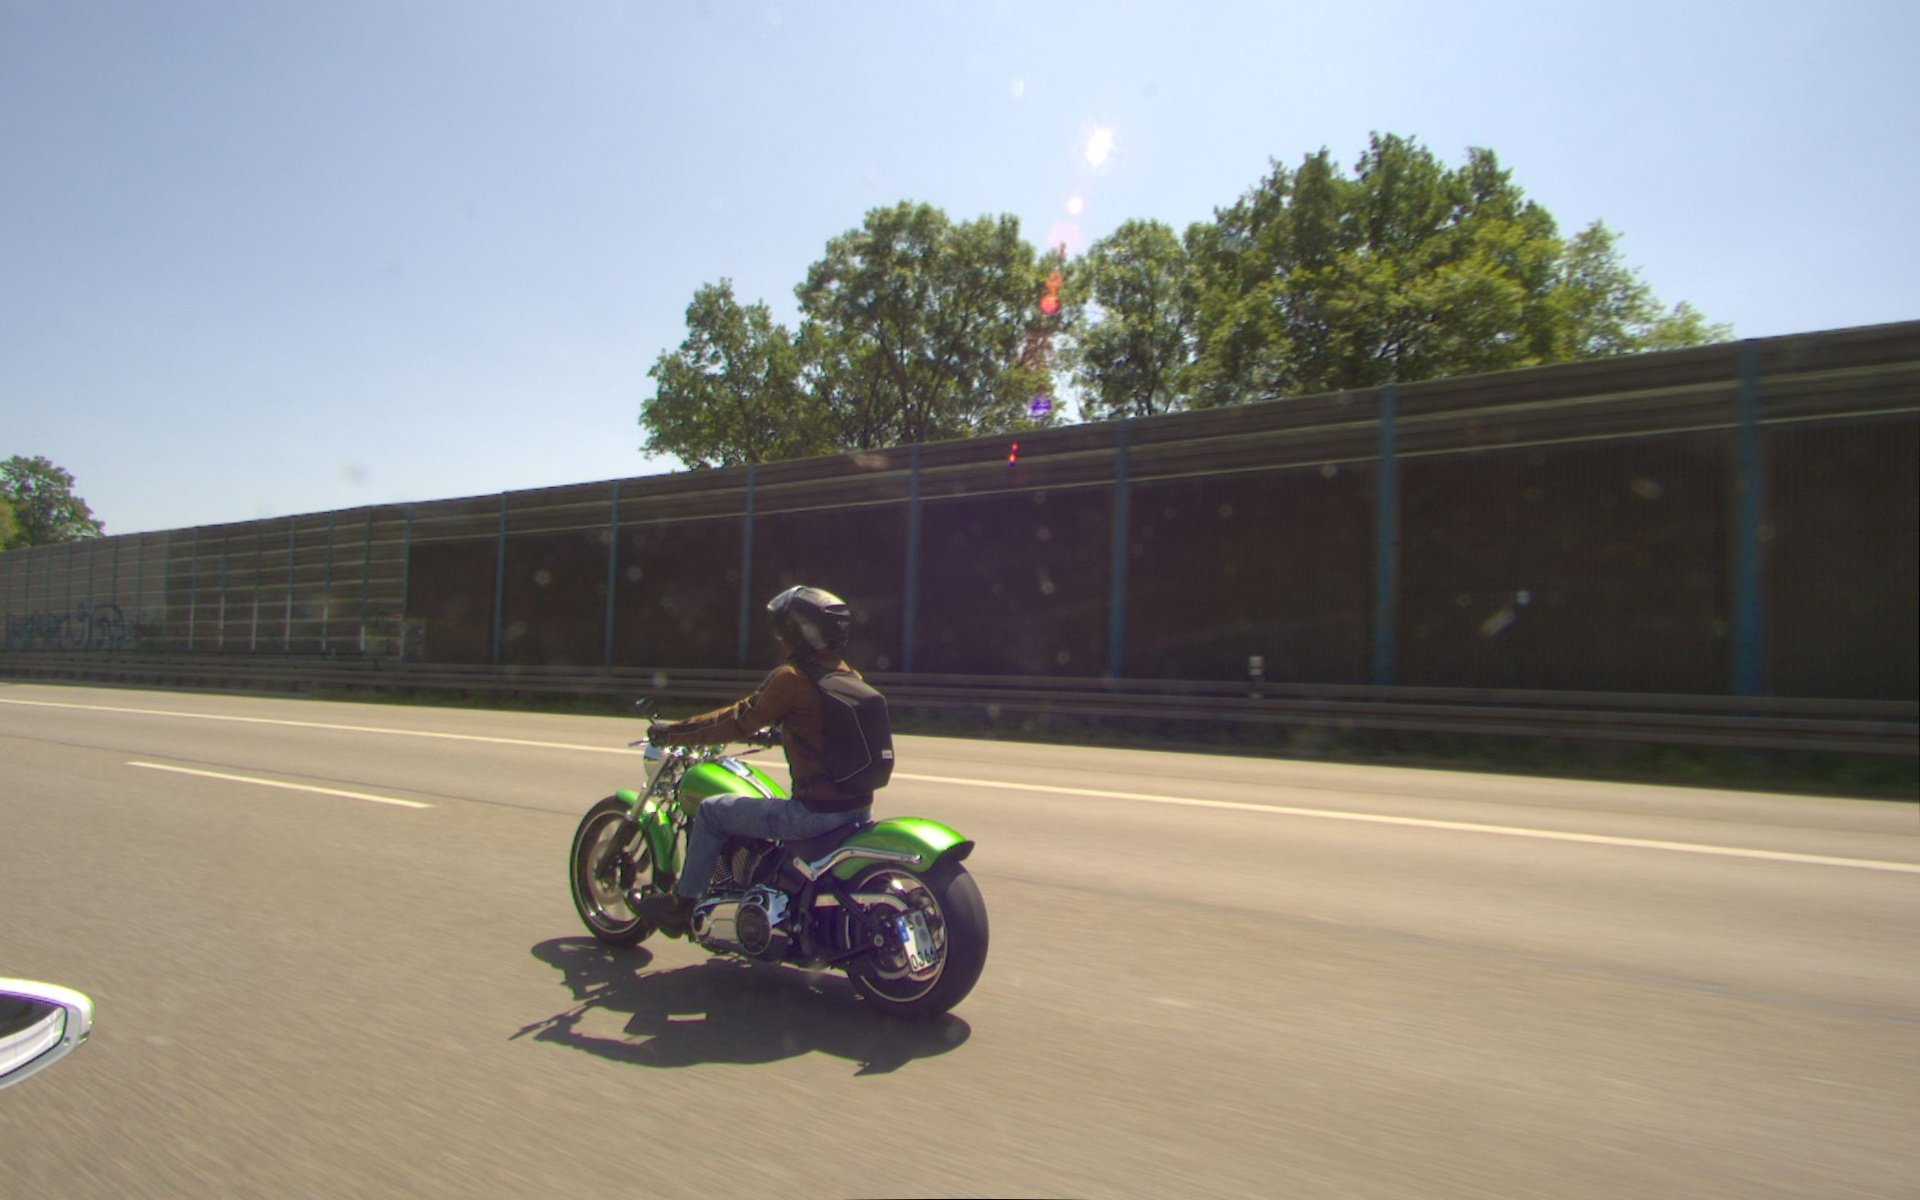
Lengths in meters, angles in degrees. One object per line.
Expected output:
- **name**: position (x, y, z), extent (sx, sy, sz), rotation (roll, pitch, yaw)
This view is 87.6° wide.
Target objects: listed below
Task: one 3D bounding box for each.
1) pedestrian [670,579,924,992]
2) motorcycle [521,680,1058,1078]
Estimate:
- **pedestrian**: position (-0.652, 0.690, 4.170), extent (0.629, 1.497, 0.850), rotation (0, -2, 32)
- **motorcycle**: position (-0.785, 0.990, 4.250), extent (2.244, 1.197, 0.858), rotation (0, -2, 32)
